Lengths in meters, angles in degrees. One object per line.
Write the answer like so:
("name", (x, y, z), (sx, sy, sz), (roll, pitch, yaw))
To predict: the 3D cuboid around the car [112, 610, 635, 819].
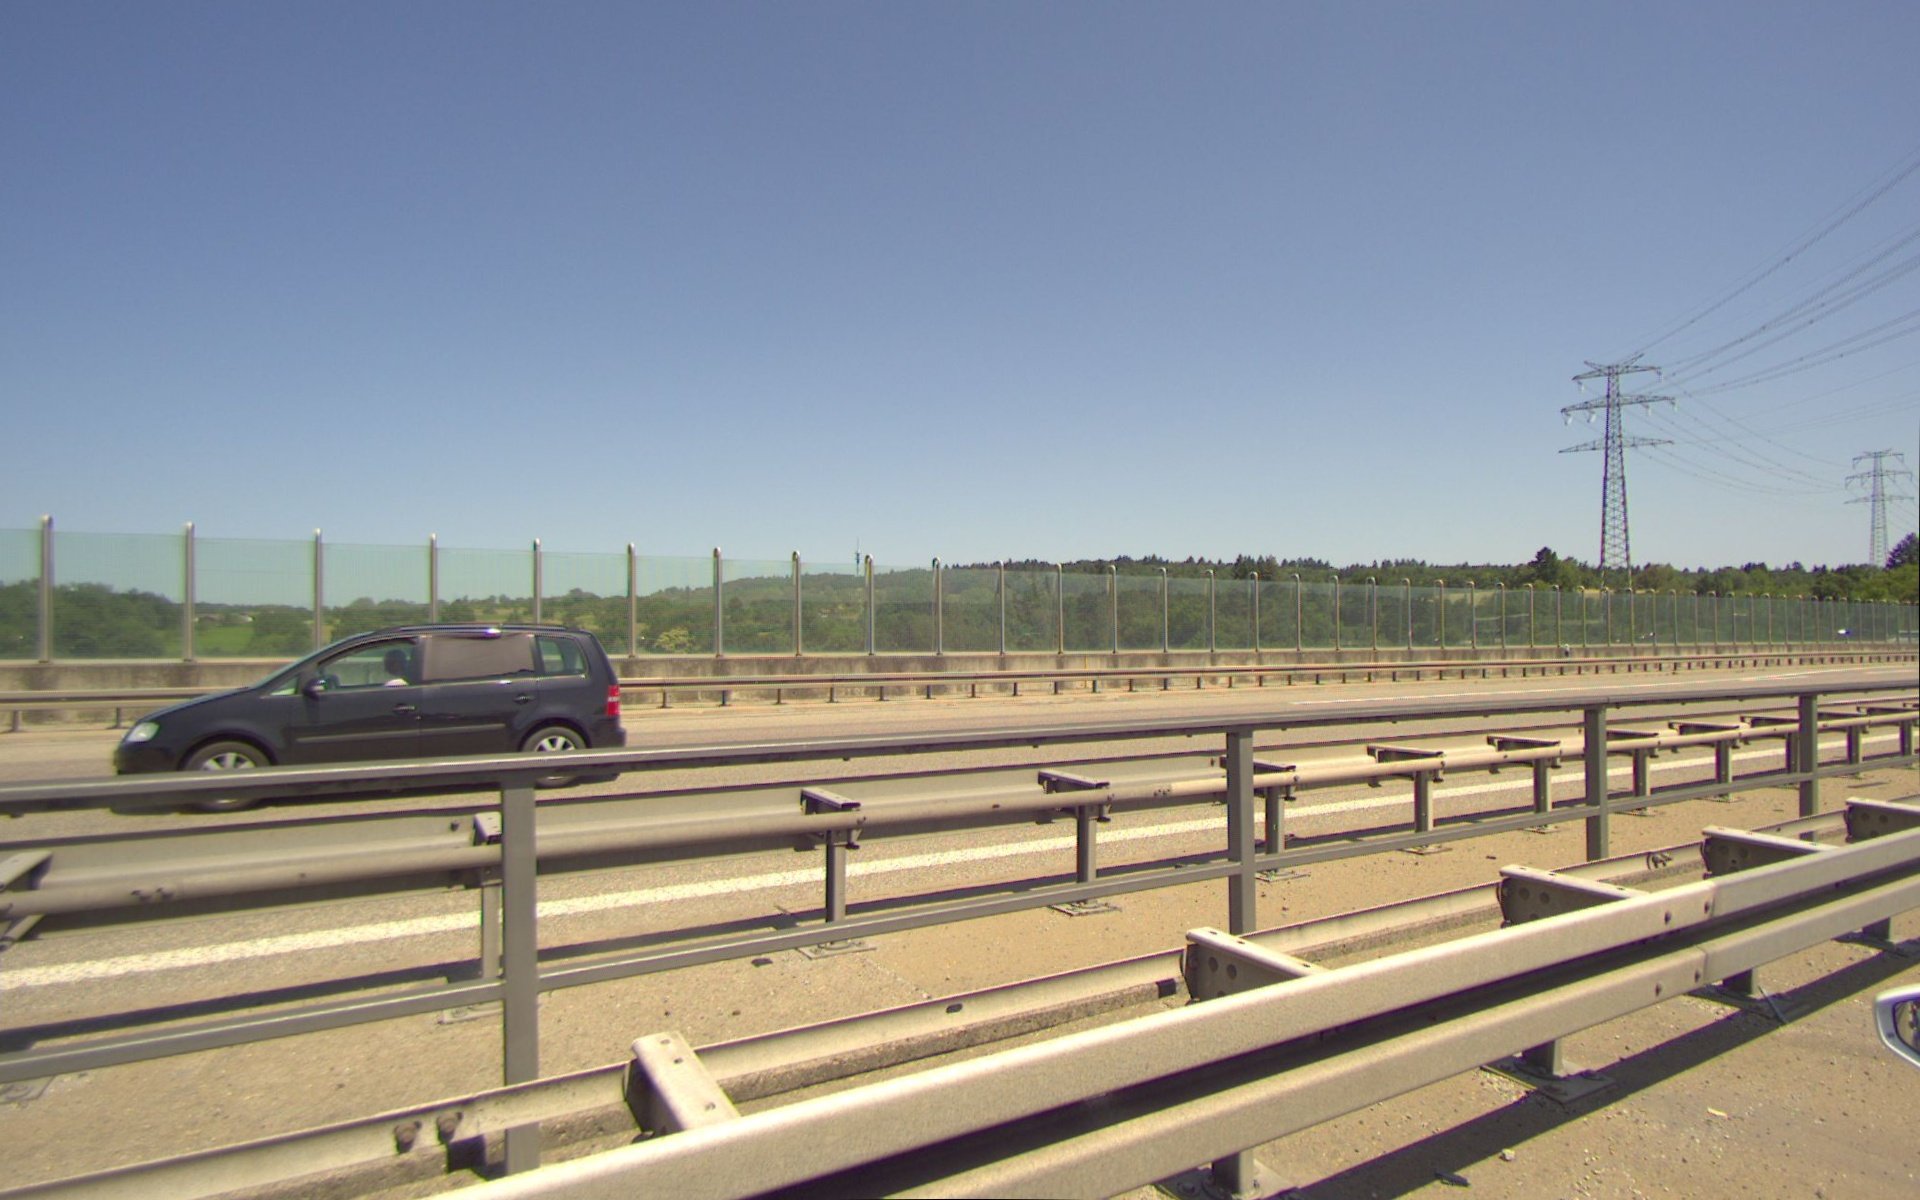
("car", (-5.618, 1.015, 10.109), (4.139, 1.694, 1.984), (1, -3, -32))
